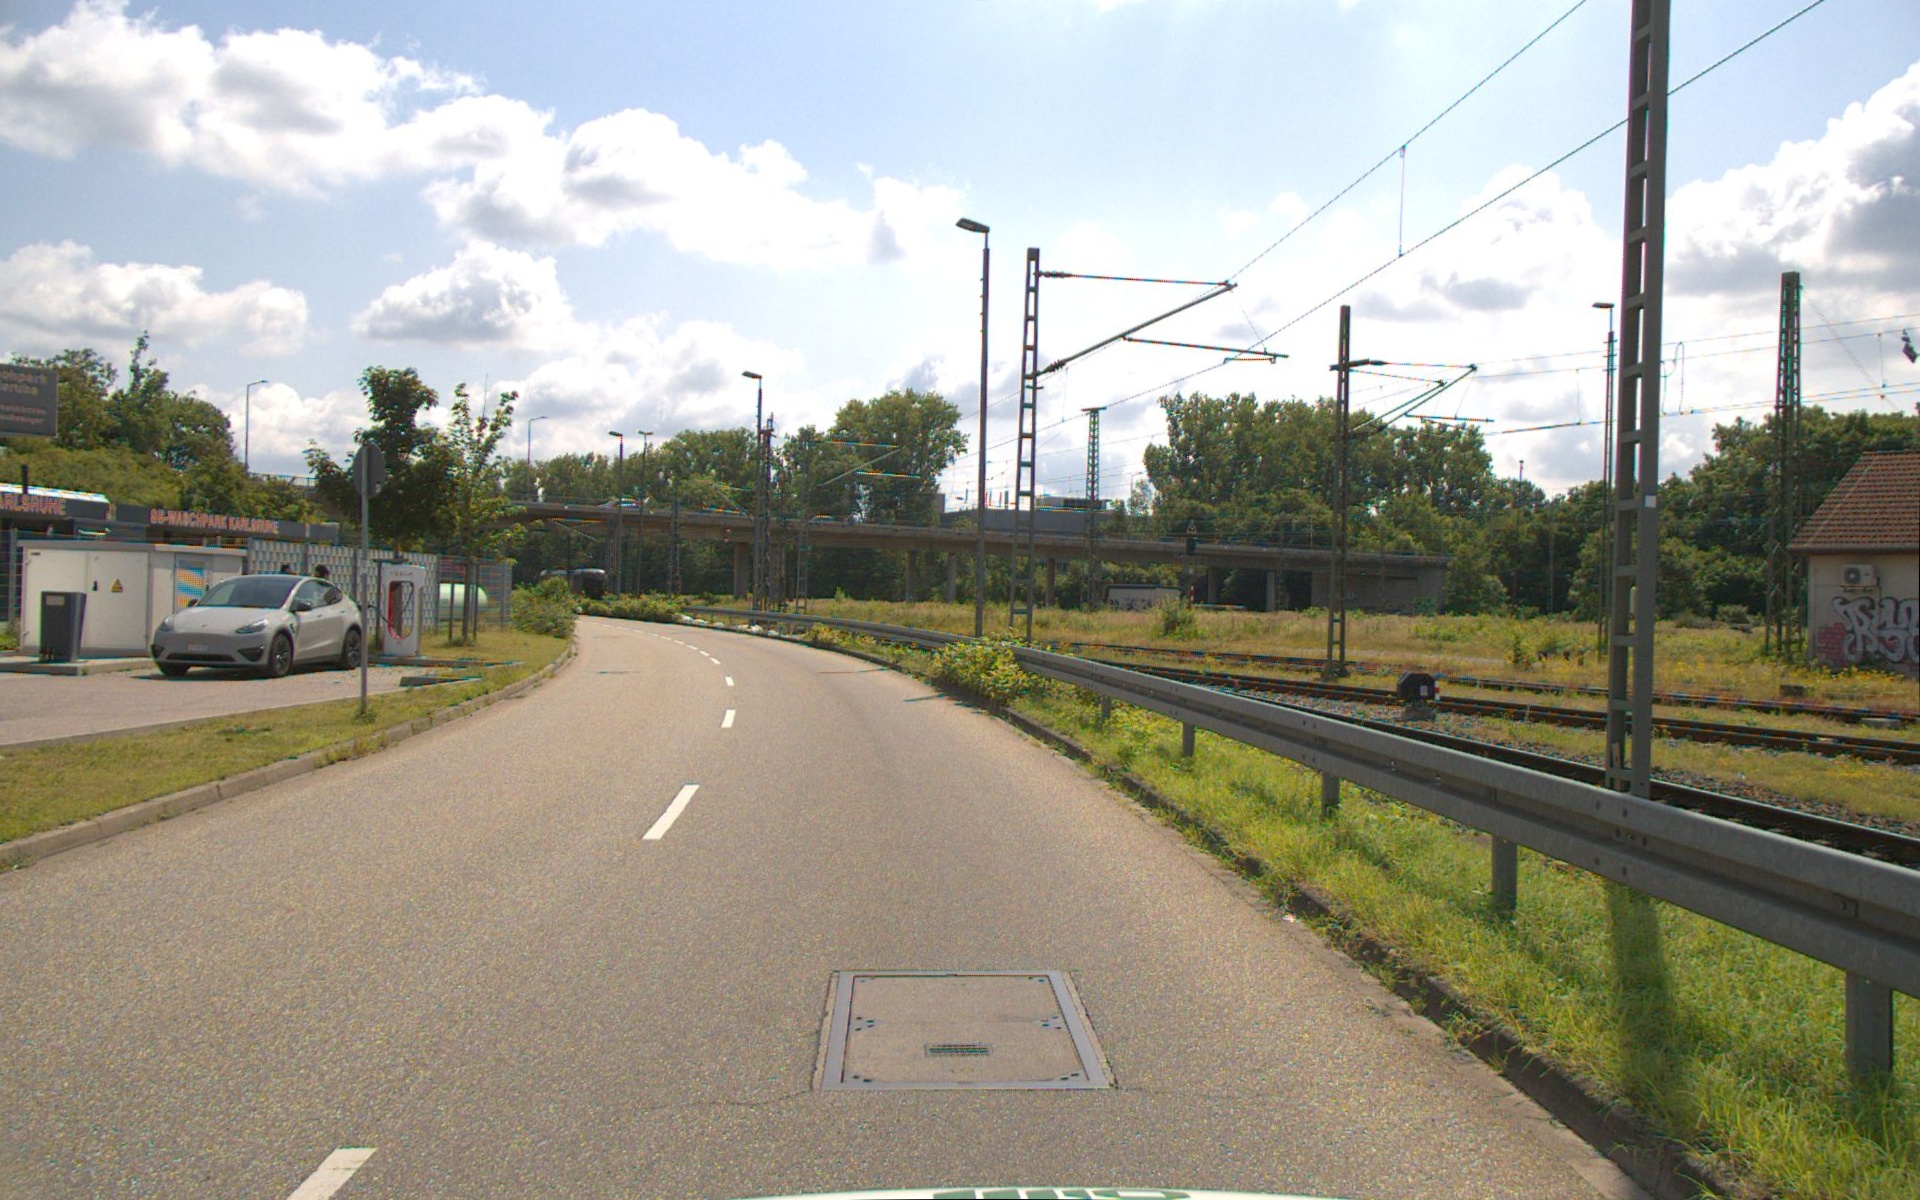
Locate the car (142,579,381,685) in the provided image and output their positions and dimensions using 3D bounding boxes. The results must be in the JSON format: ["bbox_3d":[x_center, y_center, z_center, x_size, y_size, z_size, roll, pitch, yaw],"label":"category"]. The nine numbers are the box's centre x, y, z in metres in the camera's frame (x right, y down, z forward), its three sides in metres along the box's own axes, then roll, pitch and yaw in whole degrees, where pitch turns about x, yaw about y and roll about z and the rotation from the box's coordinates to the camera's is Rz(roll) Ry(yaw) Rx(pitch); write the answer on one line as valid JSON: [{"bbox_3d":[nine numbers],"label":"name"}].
[{"bbox_3d":[-11.696,0.469,28.110,1.890,1.544,4.777,2,1,2],"label":"car"}]

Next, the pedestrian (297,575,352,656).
[{"bbox_3d":[-12.644,0.308,32.926,0.722,1.569,0.816,1,-1,4],"label":"pedestrian"}]

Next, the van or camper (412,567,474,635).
[{"bbox_3d":[-20.874,0.025,66.653,2.156,2.558,5.669,-1,1,-19],"label":"van or camper"}]

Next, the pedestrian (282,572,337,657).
[{"bbox_3d":[-12.489,0.283,31.744,0.701,1.607,0.718,0,-1,41],"label":"pedestrian"}]

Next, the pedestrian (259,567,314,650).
[{"bbox_3d":[-13.132,0.171,32.235,0.745,1.593,0.709,0,-1,41],"label":"pedestrian"}]
